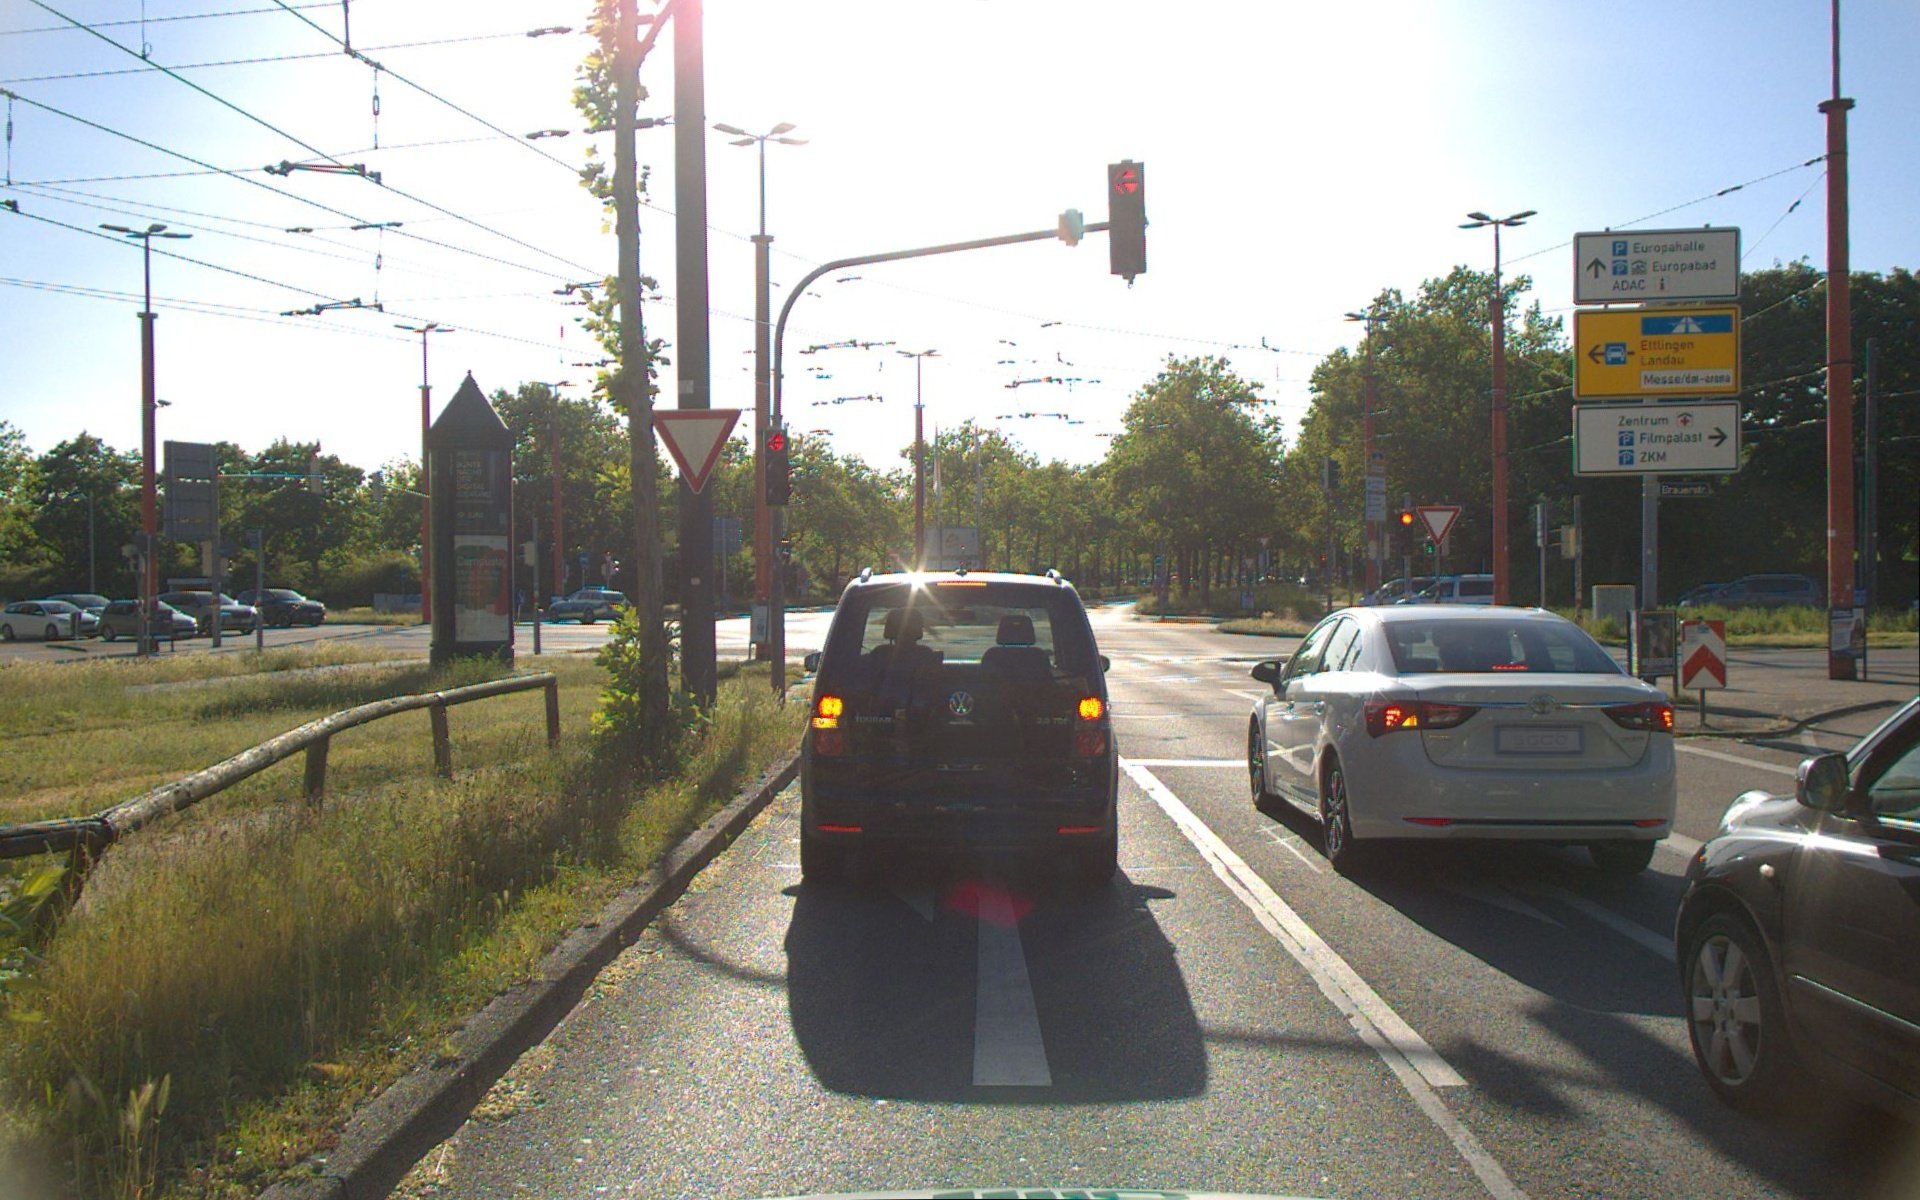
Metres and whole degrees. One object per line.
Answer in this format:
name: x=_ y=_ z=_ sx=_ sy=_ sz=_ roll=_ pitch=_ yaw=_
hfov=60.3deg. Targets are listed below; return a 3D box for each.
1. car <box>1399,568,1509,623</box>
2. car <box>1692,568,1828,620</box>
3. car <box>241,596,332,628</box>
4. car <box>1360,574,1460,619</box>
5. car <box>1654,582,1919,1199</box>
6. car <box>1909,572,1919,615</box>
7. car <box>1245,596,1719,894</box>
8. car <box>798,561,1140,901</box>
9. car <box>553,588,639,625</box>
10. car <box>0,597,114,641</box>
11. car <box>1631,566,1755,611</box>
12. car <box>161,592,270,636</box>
car: x=18.336 y=-0.168 z=61.367 sx=3.754 sy=1.923 sz=1.763 roll=1 pitch=0 yaw=22
car: x=27.343 y=-0.198 z=56.599 sx=4.097 sy=1.673 sz=1.758 roll=1 pitch=0 yaw=26
car: x=-29.264 y=0.501 z=71.860 sx=3.913 sy=1.353 sz=1.694 roll=0 pitch=0 yaw=31
car: x=17.756 y=-0.144 z=65.284 sx=3.570 sy=1.684 sz=1.679 roll=1 pitch=0 yaw=25
car: x=3.180 y=0.733 z=3.813 sx=1.620 sy=1.526 sz=3.614 roll=1 pitch=0 yaw=0
car: x=34.606 y=-0.174 z=56.282 sx=3.887 sy=1.466 sz=1.685 roll=1 pitch=0 yaw=27
car: x=2.970 y=0.717 z=10.362 sx=1.685 sy=1.463 sz=4.198 roll=1 pitch=0 yaw=1
car: x=0.008 y=0.625 z=10.026 sx=1.666 sy=1.650 sz=3.896 roll=0 pitch=0 yaw=-1
car: x=-16.675 y=0.283 z=75.721 sx=4.037 sy=1.685 sz=1.794 roll=0 pitch=0 yaw=40
car: x=-34.670 y=0.721 z=63.433 sx=4.091 sy=1.640 sz=1.867 roll=0 pitch=0 yaw=25
car: x=26.750 y=-0.428 z=60.392 sx=4.040 sy=1.537 sz=1.821 roll=1 pitch=0 yaw=26
car: x=-28.949 y=0.531 z=64.324 sx=3.913 sy=1.673 sz=1.996 roll=0 pitch=0 yaw=31
